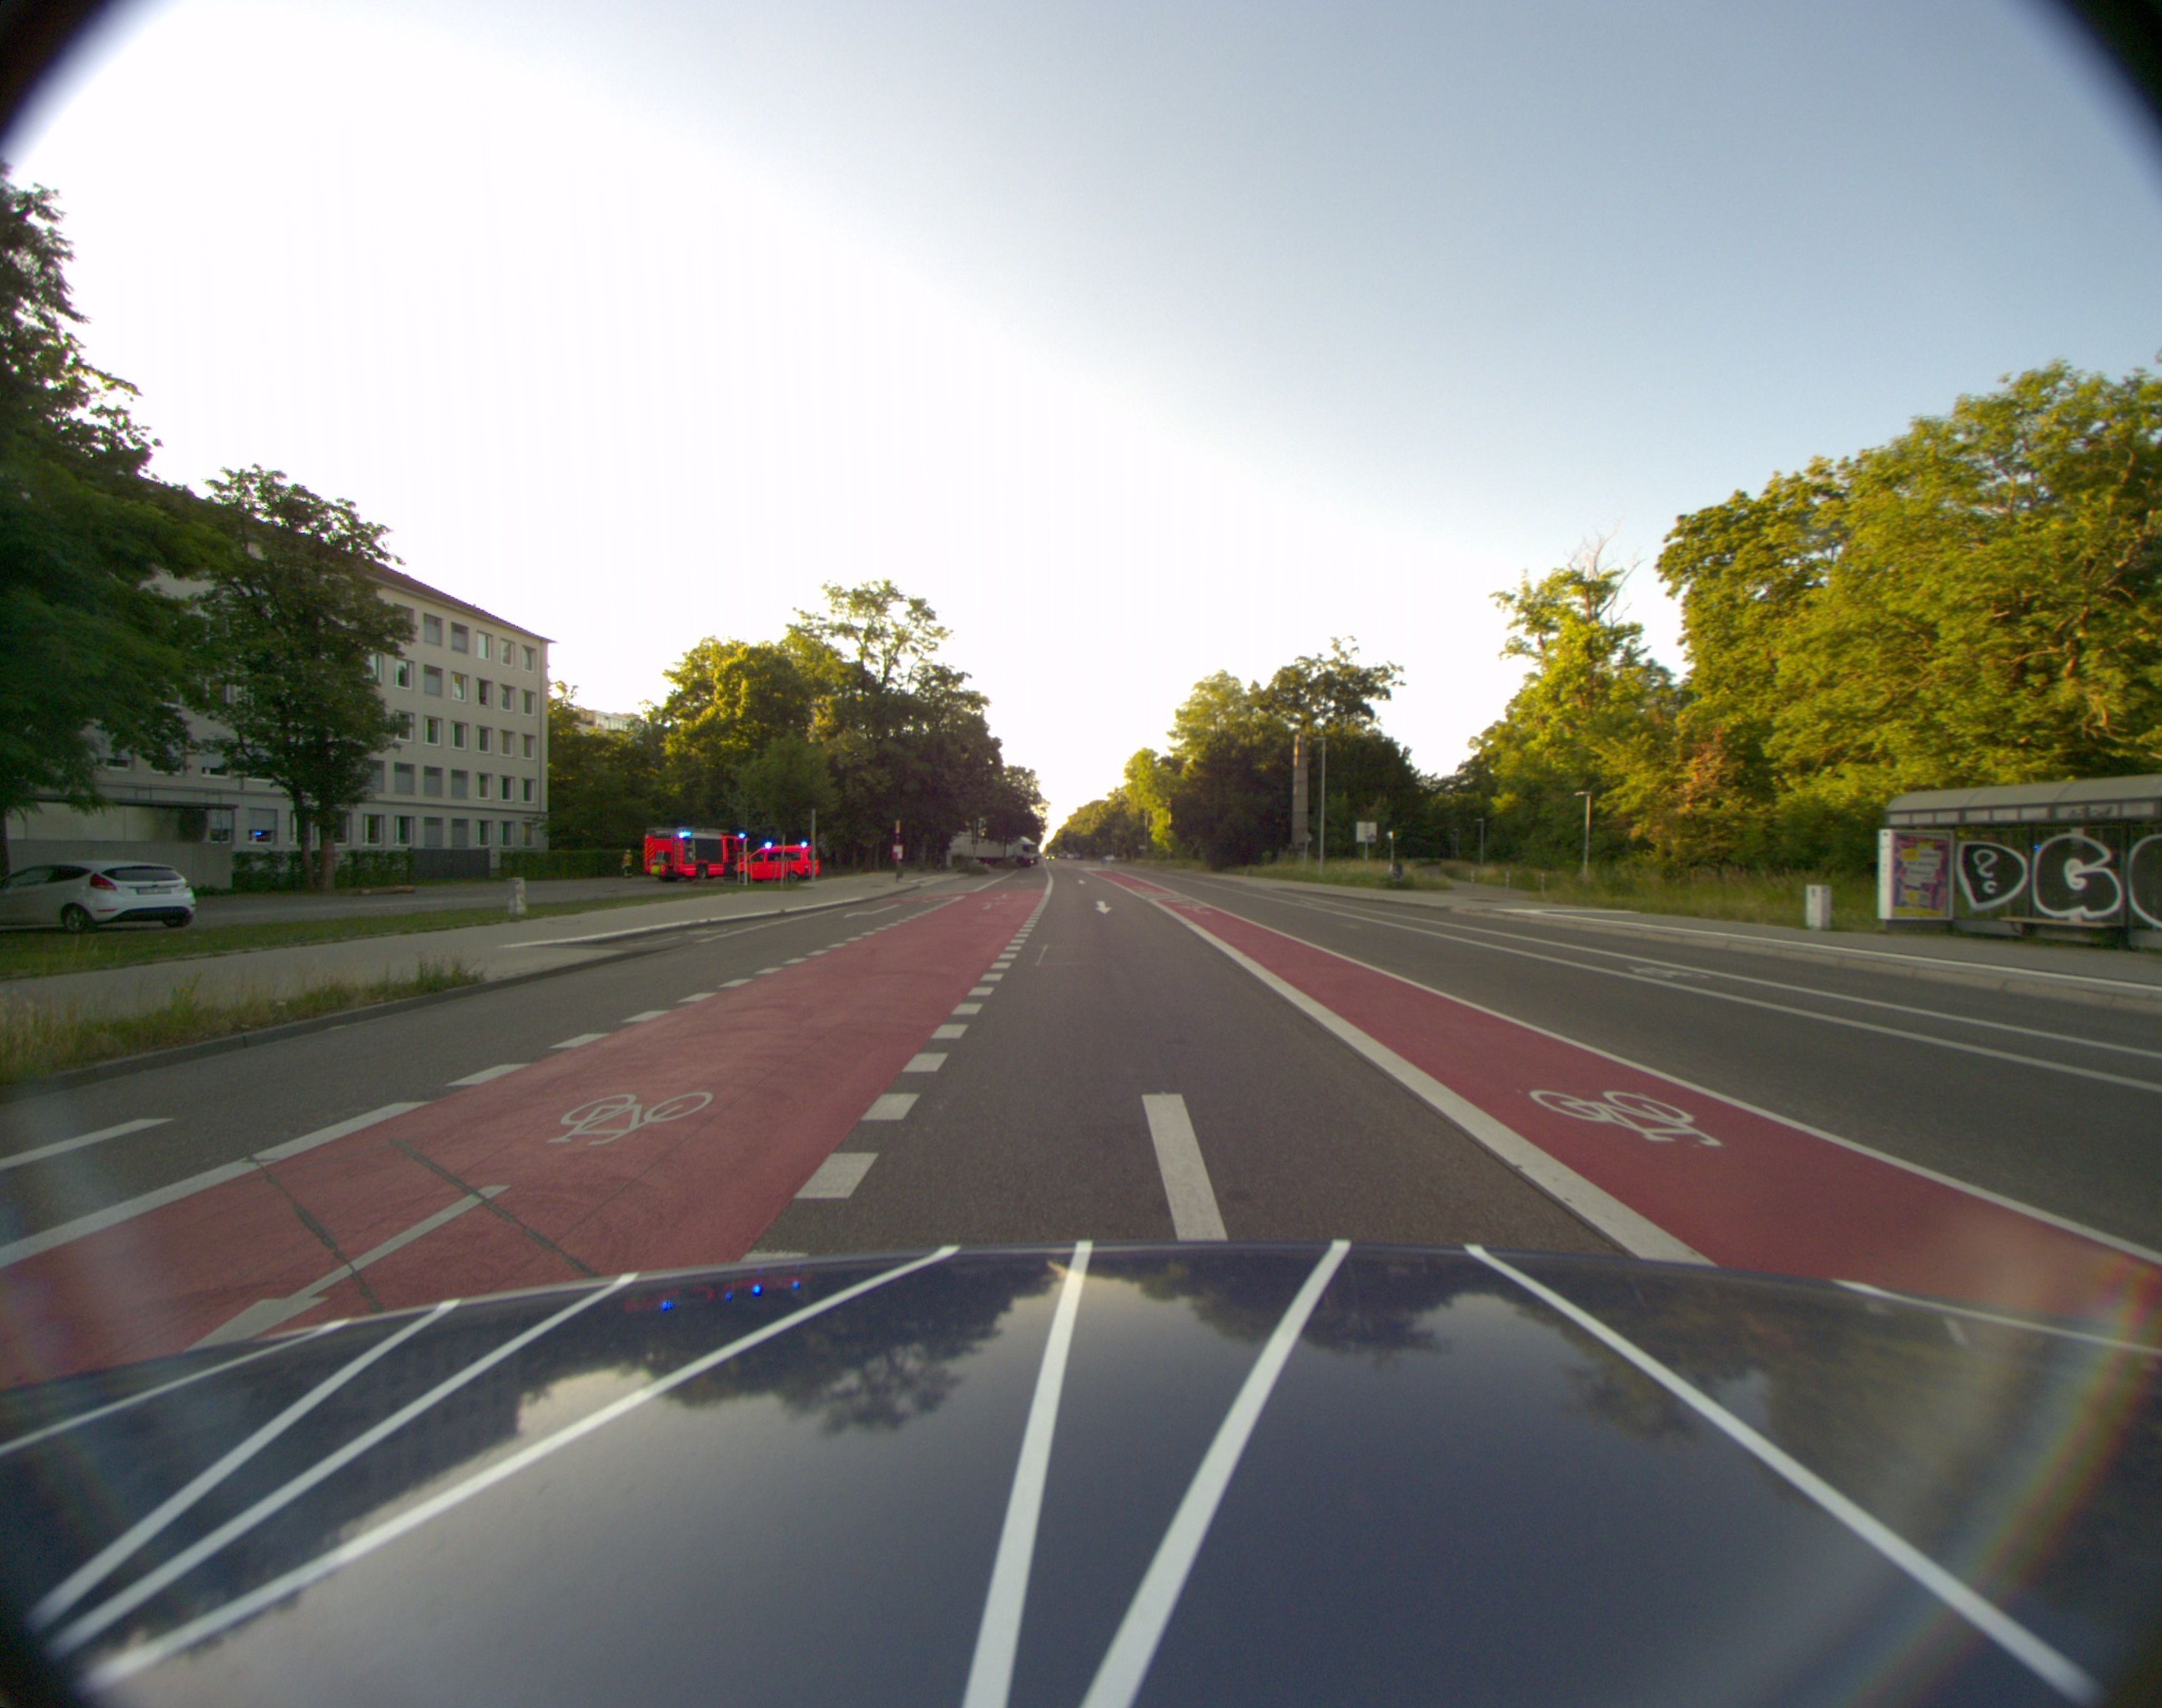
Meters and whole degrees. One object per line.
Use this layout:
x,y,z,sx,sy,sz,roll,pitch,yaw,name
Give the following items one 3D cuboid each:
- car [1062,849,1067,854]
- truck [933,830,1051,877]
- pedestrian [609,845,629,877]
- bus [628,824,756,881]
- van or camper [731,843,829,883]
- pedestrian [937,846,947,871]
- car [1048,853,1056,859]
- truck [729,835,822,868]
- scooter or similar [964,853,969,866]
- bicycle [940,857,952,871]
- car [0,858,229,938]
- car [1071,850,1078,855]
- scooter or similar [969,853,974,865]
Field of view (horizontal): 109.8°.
-5.425,-0.834,249.171,1.754,1.299,3.999,1,0,-2,car
-11.362,-0.133,95.244,15.040,5.542,5.170,0,1,35,truck
-29.992,0.450,49.352,0.772,2.002,0.826,0,1,9,pedestrian
-23.823,-0.114,47.181,2.993,3.177,7.968,-1,0,8,bus
-17.684,0.496,44.802,4.823,2.232,2.296,-1,1,7,van or camper
-11.476,0.374,62.548,0.726,2.002,0.694,0,1,-17,pedestrian
-7.721,0.474,202.741,1.999,1.608,3.999,0,0,-1,car
-29.831,-0.261,74.152,8.645,3.192,2.765,0,0,17,truck
-12.232,0.585,81.352,0.483,1.274,1.230,2,0,-8,scooter or similar
-11.174,0.792,62.696,0.833,1.091,1.966,0,1,-14,bicycle
-20.974,0.901,16.023,3.996,1.528,1.912,-1,1,4,car
-1.946,-0.338,226.208,1.851,1.406,4.180,0,0,2,car
-11.964,0.587,83.153,0.483,1.274,1.139,2,0,-8,scooter or similar
